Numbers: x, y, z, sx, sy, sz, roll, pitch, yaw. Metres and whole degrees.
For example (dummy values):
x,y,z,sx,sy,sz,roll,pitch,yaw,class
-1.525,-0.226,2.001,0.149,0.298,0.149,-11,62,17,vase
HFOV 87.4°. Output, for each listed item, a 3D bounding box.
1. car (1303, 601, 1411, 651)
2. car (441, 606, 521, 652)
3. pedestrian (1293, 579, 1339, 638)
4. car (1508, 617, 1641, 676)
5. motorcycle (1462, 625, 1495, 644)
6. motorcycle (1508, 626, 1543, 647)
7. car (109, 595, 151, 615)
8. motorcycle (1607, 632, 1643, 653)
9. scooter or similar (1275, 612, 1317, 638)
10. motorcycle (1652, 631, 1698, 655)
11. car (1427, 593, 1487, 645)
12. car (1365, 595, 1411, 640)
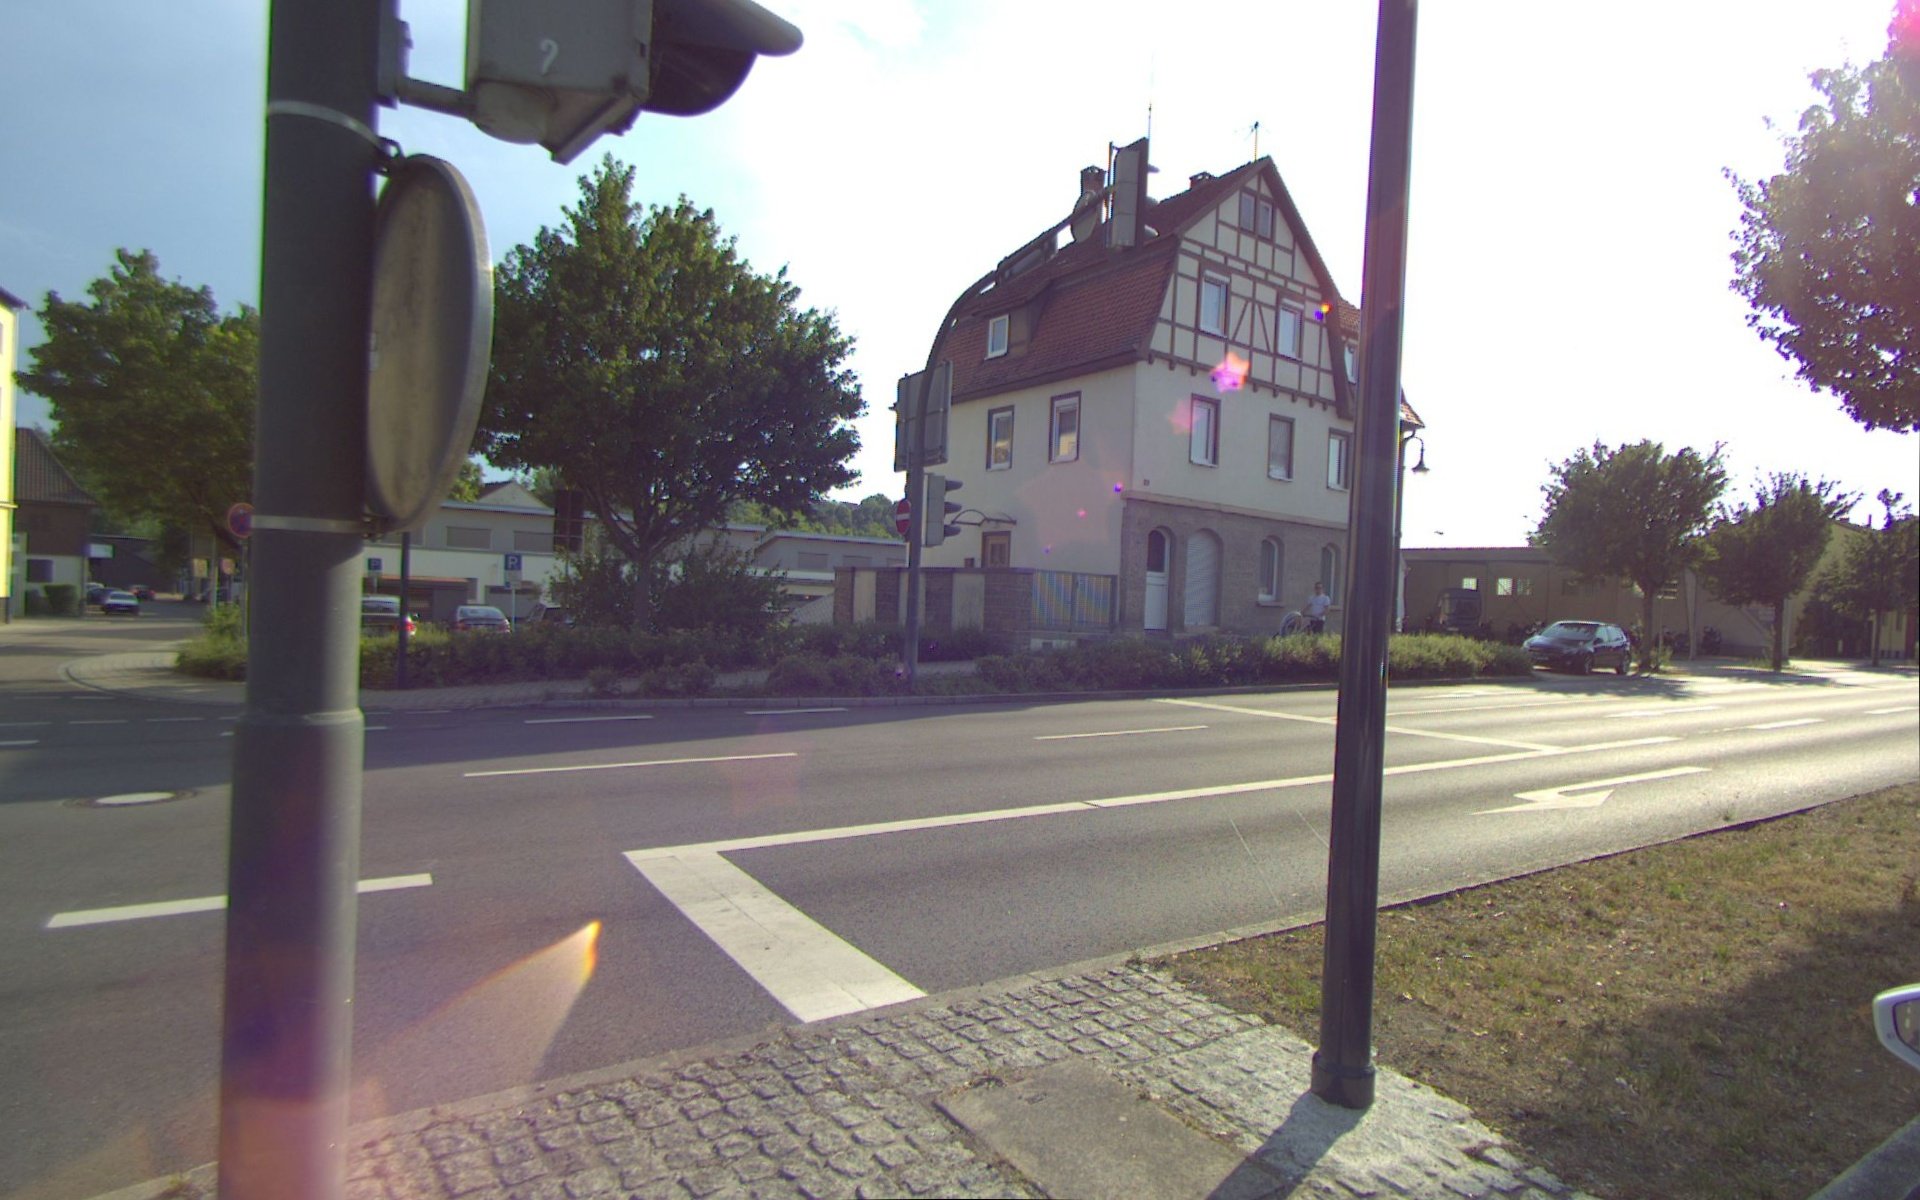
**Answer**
x,y,z,sx,sy,sz,roll,pitch,yaw,class
14.905,0.934,37.910,3.608,1.497,1.824,5,3,19,car
-15.857,0.933,33.176,1.732,1.418,3.620,2,-1,-36,car
8.684,0.218,24.507,0.700,1.413,0.807,1,0,-36,pedestrian
18.015,1.338,29.419,4.091,1.473,1.744,2,3,-35,car
29.462,1.956,57.101,1.605,1.083,0.517,1,0,-3,motorcycle
30.965,1.982,55.000,1.605,1.121,0.517,1,0,-3,motorcycle
-56.239,0.343,68.130,1.729,1.276,3.560,2,-1,-33,car
33.576,2.151,50.732,1.513,1.018,0.517,1,0,-4,motorcycle
8.003,0.601,23.910,1.034,0.590,0.440,1,-1,-36,scooter or similar
34.748,2.088,48.821,1.833,1.083,0.517,1,0,1,motorcycle
26.096,0.959,52.924,2.002,2.367,4.320,4,3,17,car
23.575,0.918,55.468,2.003,2.179,4.318,5,3,20,car
